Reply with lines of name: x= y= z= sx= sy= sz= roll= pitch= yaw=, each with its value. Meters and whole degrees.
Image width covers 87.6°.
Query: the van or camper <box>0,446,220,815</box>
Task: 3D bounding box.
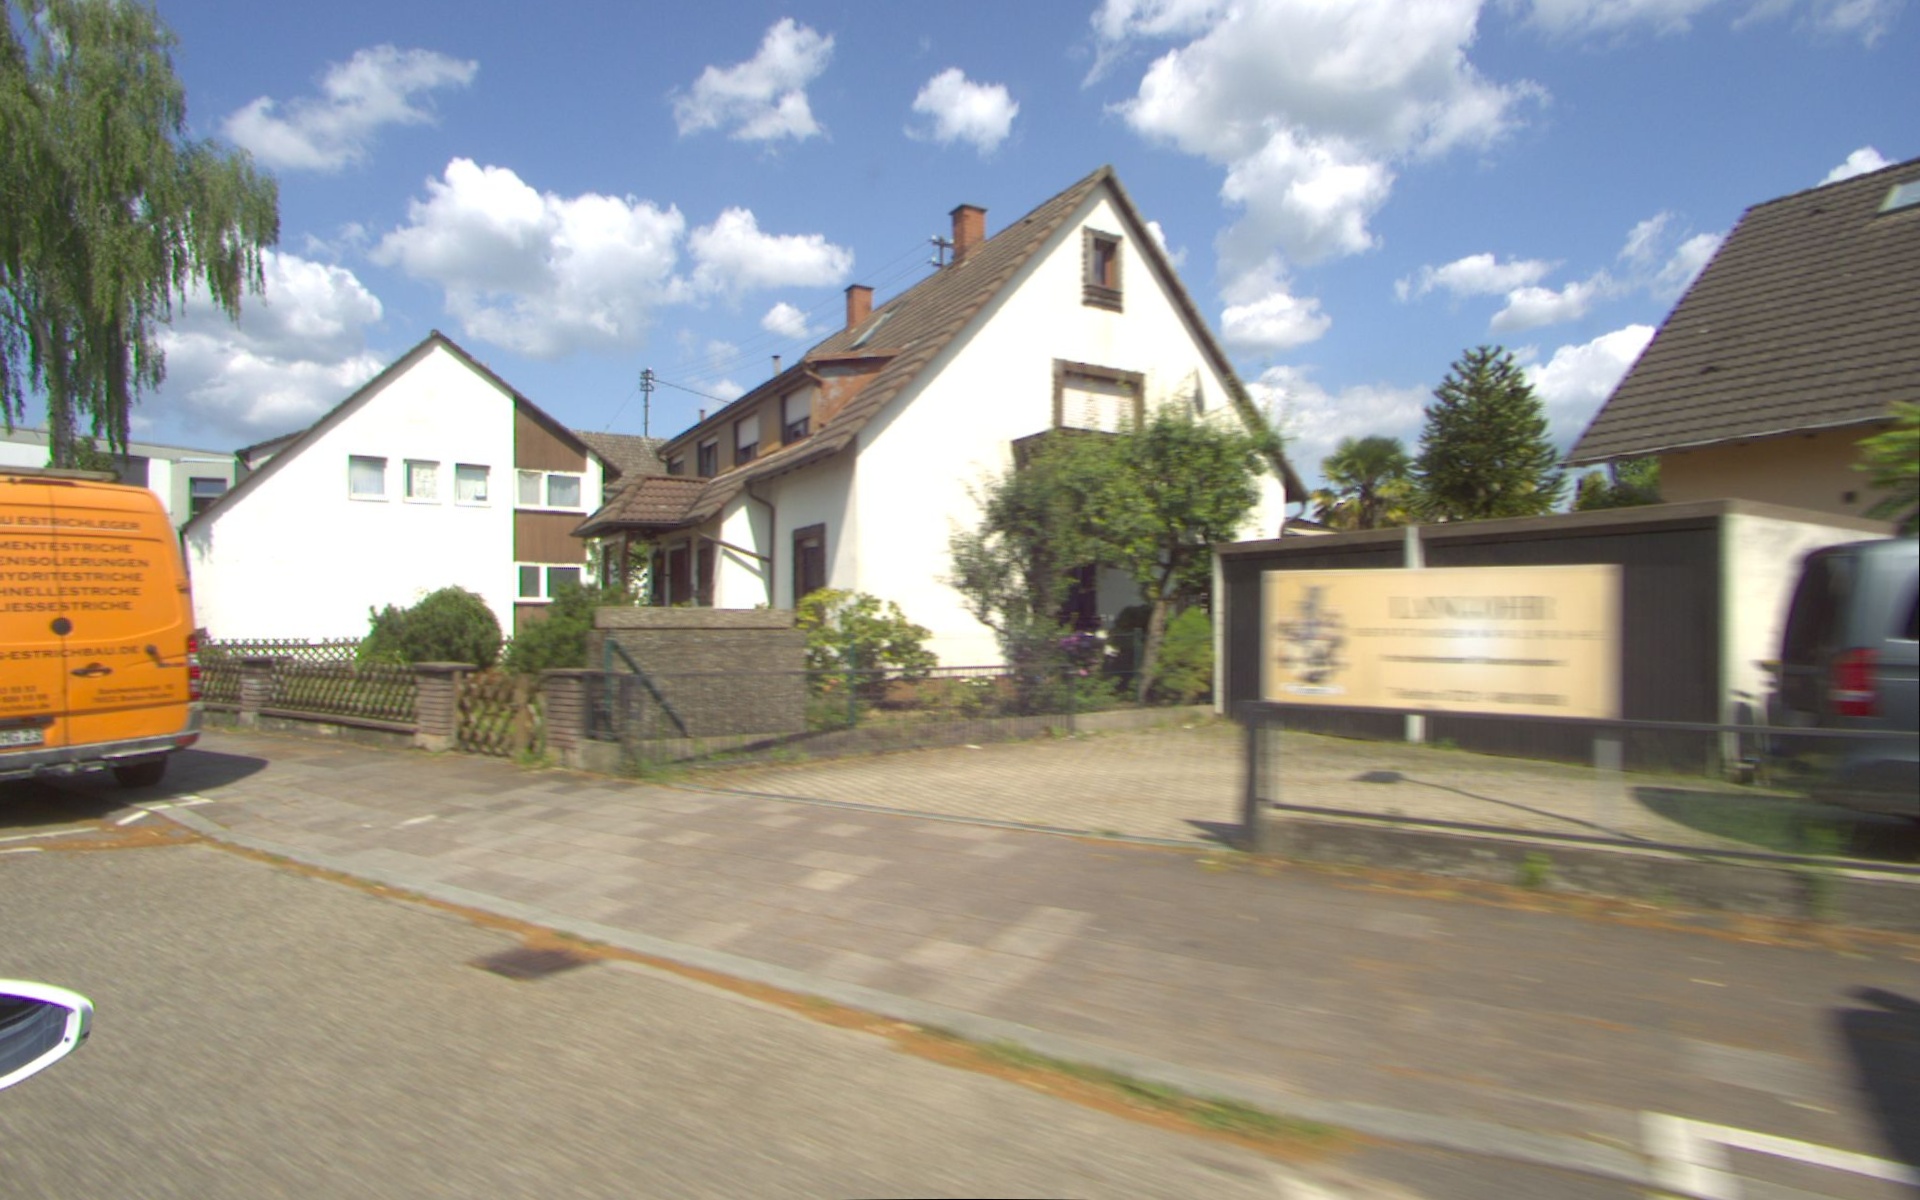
van or camper: x=-9.261 y=0.253 z=9.162 sx=5.684 sy=2.698 sz=1.991 roll=0 pitch=-1 yaw=31

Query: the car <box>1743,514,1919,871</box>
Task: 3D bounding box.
car: x=7.335 y=0.493 z=5.150 sx=4.942 sy=1.890 sz=1.855 roll=0 pitch=-1 yaw=28
